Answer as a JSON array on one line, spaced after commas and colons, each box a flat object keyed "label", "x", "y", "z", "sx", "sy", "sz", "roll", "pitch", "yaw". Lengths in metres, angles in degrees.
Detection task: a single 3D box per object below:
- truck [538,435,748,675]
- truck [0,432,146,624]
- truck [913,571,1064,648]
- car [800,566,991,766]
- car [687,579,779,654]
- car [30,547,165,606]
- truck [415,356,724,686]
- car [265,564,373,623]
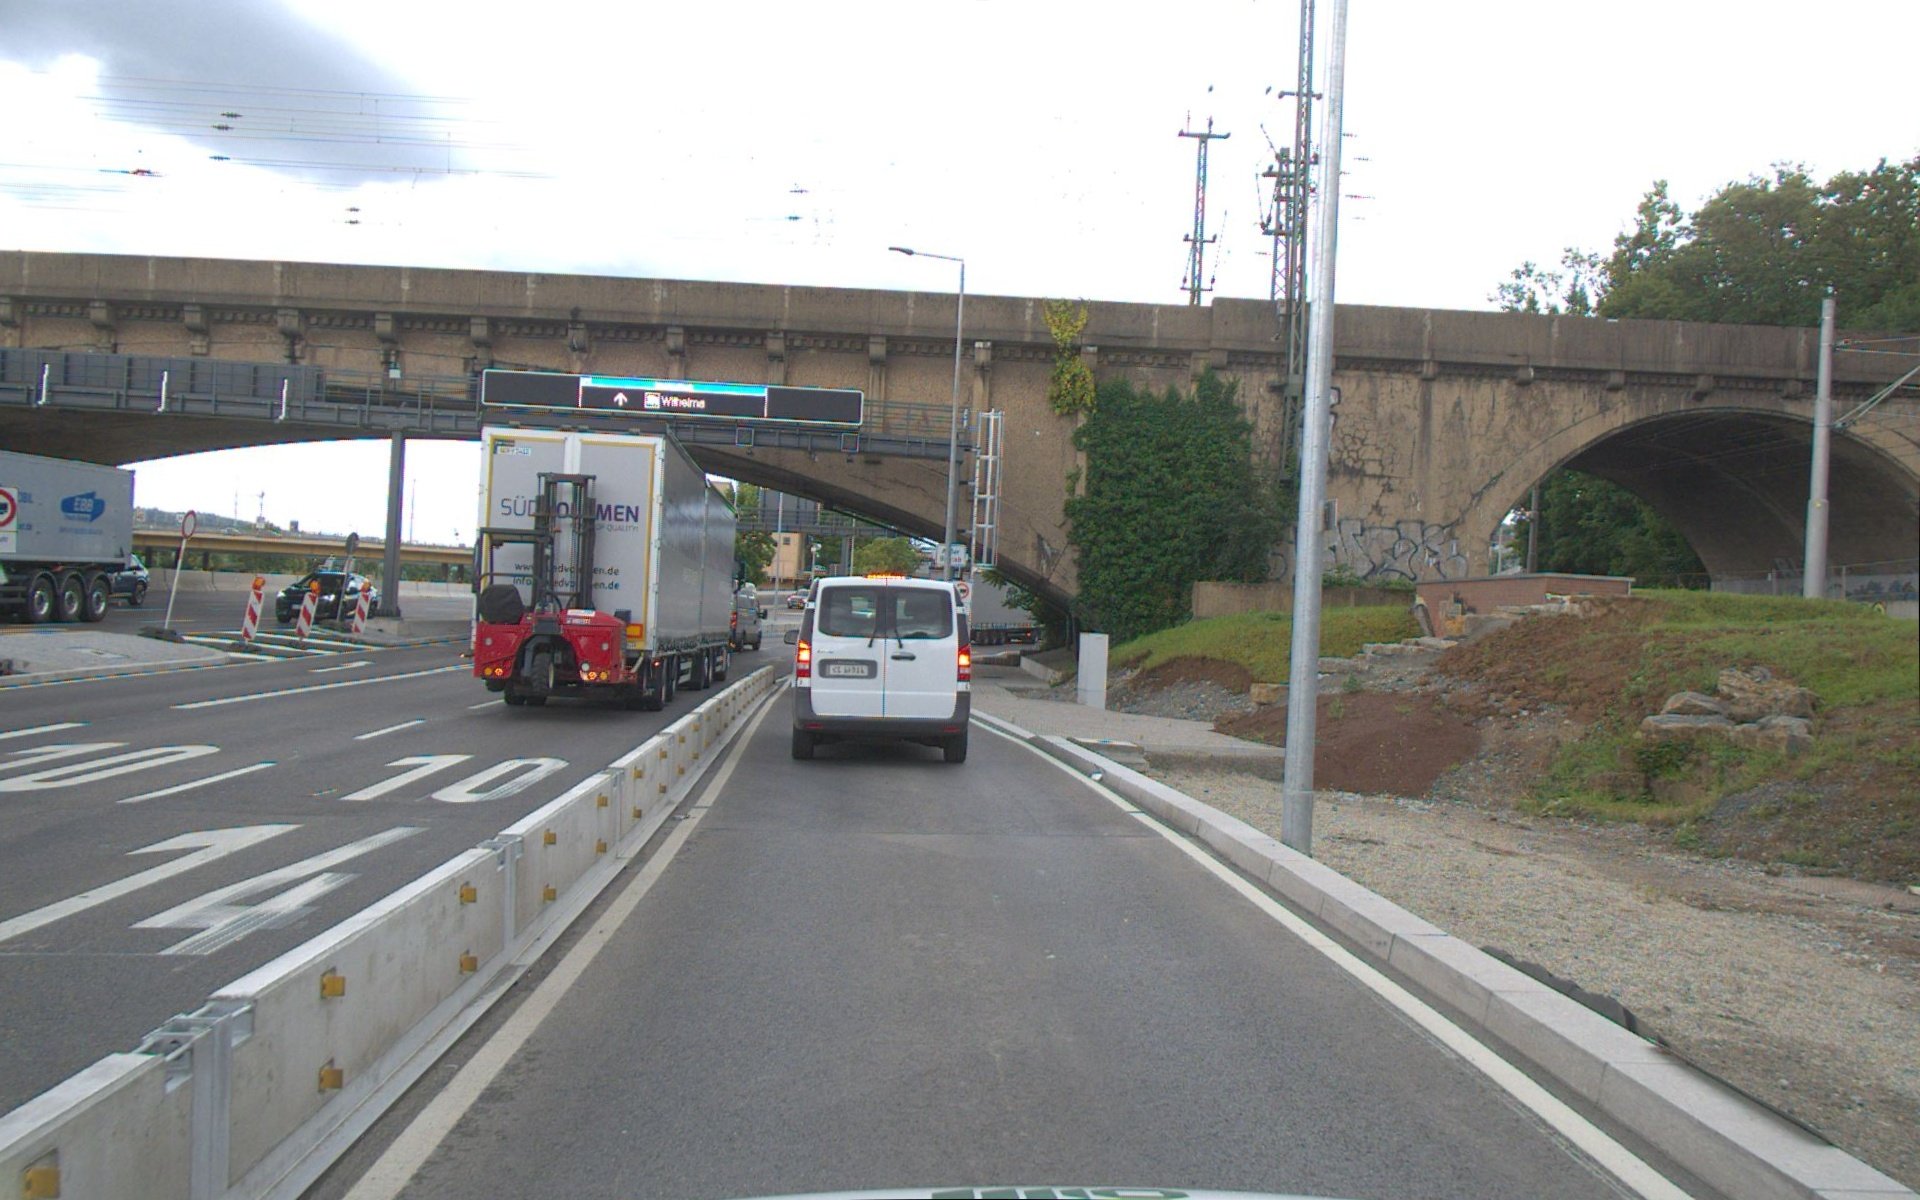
[{"label": "truck", "x": -6.576, "y": -0.720, "z": 36.207, "sx": 2.929, "sy": 4.249, "sz": 11.230, "roll": 4, "pitch": -1, "yaw": -4}, {"label": "truck", "x": -22.081, "y": -1.597, "z": 34.929, "sx": 2.840, "sy": 4.132, "sz": 13.987, "roll": 2, "pitch": 0, "yaw": -1}, {"label": "truck", "x": 1.988, "y": 0.694, "z": 95.839, "sx": 3.249, "sy": 3.875, "sz": 16.593, "roll": 4, "pitch": 0, "yaw": 20}, {"label": "car", "x": -0.823, "y": 0.683, "z": 18.661, "sx": 1.839, "sy": 1.924, "sz": 4.748, "roll": 2, "pitch": -1, "yaw": -5}, {"label": "car", "x": -8.561, "y": 0.619, "z": 62.849, "sx": 1.952, "sy": 2.585, "sz": 5.178, "roll": 5, "pitch": 0, "yaw": 7}, {"label": "car", "x": -26.345, "y": -0.705, "z": 50.687, "sx": 1.847, "sy": 1.713, "sz": 4.487, "roll": 0, "pitch": 0, "yaw": -1}, {"label": "truck", "x": -5.759, "y": -0.913, "z": 26.442, "sx": 2.860, "sy": 4.087, "sz": 10.192, "roll": 4, "pitch": -1, "yaw": -3}, {"label": "car", "x": -18.930, "y": -0.185, "z": 49.024, "sx": 1.672, "sy": 1.649, "sz": 4.449, "roll": 0, "pitch": 0, "yaw": -3}]
